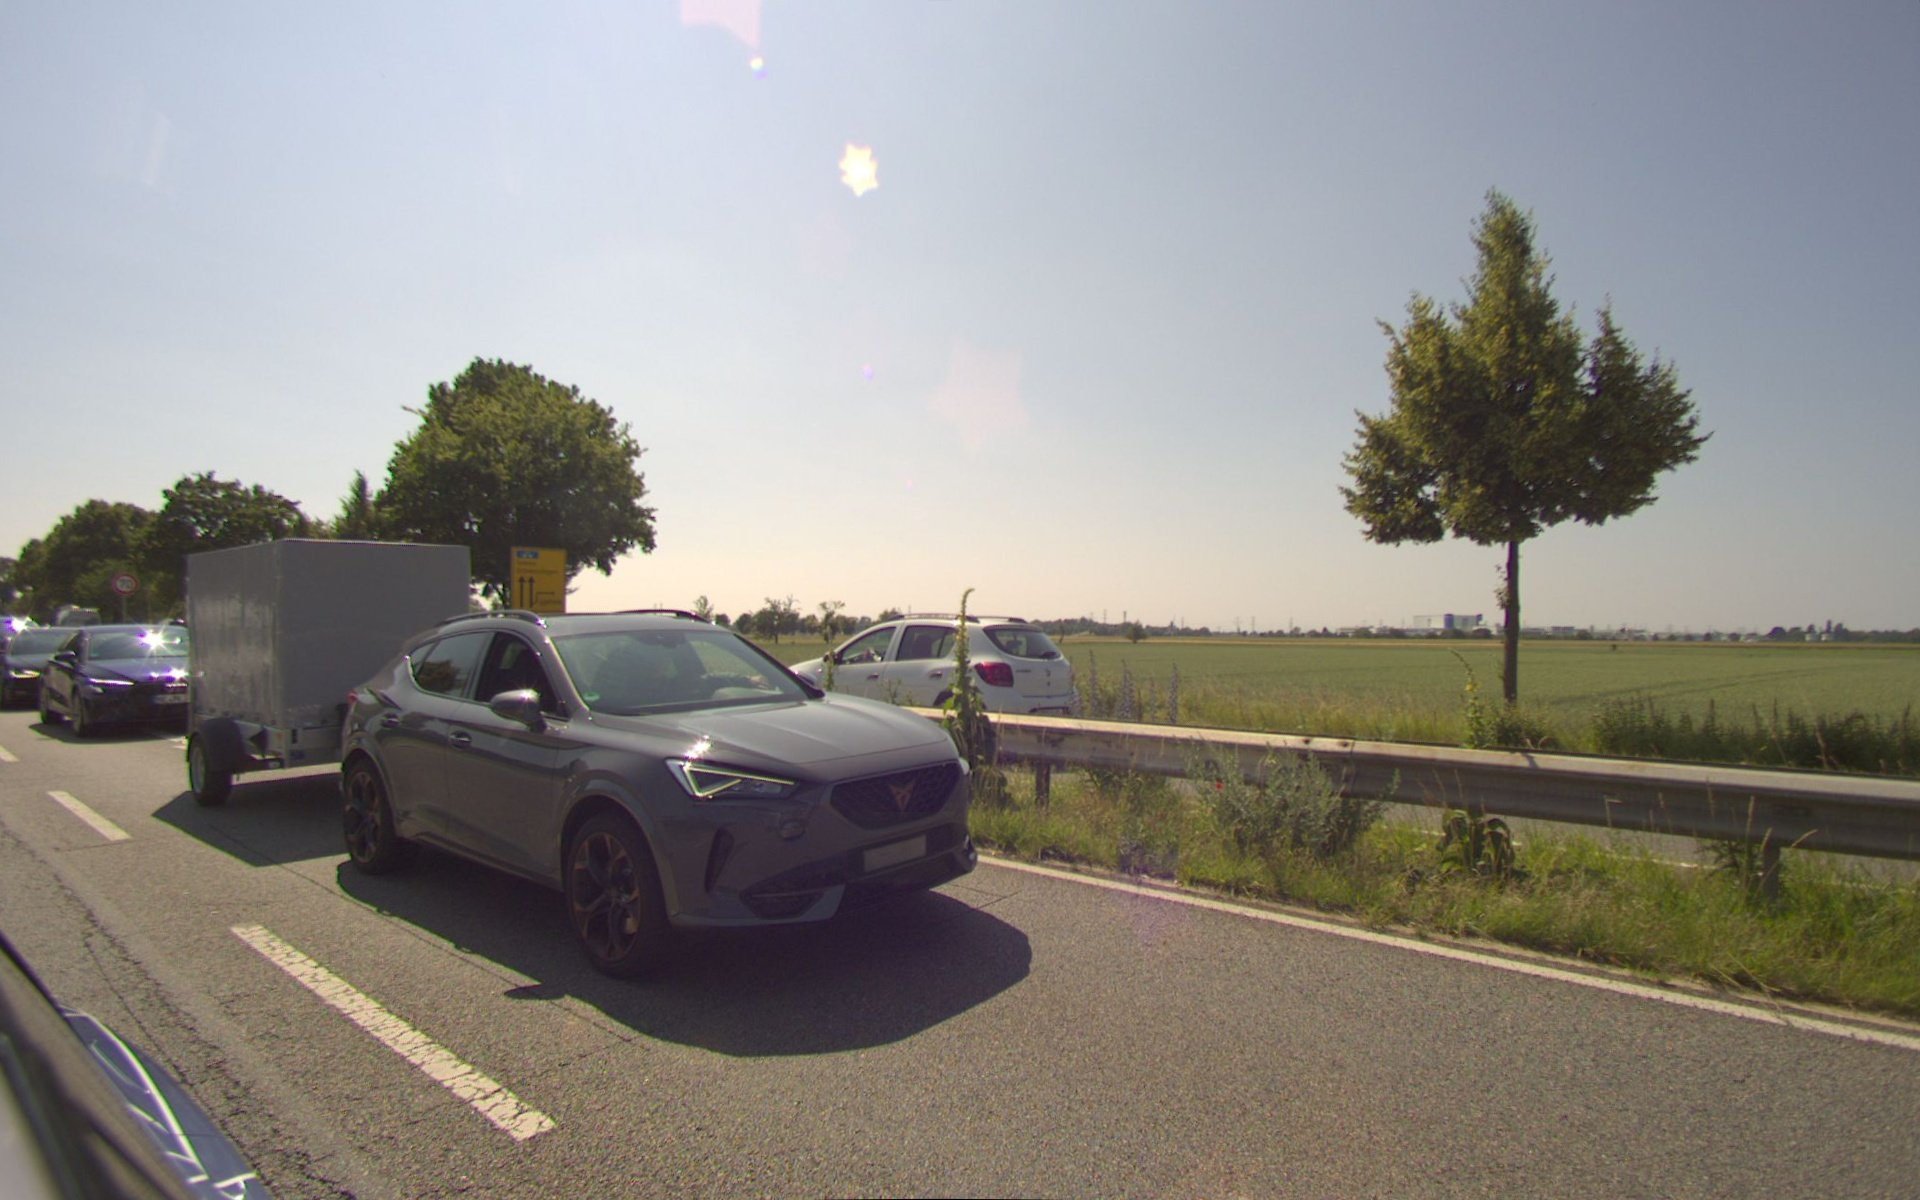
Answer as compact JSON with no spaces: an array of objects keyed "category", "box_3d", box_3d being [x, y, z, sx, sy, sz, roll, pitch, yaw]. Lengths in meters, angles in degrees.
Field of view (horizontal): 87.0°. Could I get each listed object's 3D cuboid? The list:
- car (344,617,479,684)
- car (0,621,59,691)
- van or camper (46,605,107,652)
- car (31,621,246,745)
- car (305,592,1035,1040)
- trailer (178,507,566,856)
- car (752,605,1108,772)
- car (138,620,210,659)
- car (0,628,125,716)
[{"category":"car","box_3d":[-17.171,1.540,31.568,5.011,1.945,1.973,-2,-3,40]},{"category":"car","box_3d":[-22.684,1.283,23.776,4.099,1.527,1.836,-1,-1,42]},{"category":"van or camper","box_3d":[-60.731,1.985,69.562,5.690,3.123,2.240,-2,-3,40]},{"category":"car","box_3d":[-11.639,1.058,14.256,4.028,1.476,1.699,-1,-1,41]},{"category":"car","box_3d":[-1.863,0.779,5.521,4.360,1.514,1.727,-2,-1,41]},{"category":"trailer","box_3d":[-4.971,0.557,8.286,4.172,2.190,1.485,-2,-1,41]},{"category":"car","box_3d":[-0.472,0.945,12.035,4.132,1.651,1.728,-2,-3,40]},{"category":"car","box_3d":[-38.968,1.950,50.162,4.693,1.870,1.838,-2,-3,40]},{"category":"car","box_3d":[-16.901,1.234,18.606,4.453,1.391,1.722,-1,-1,41]}]
